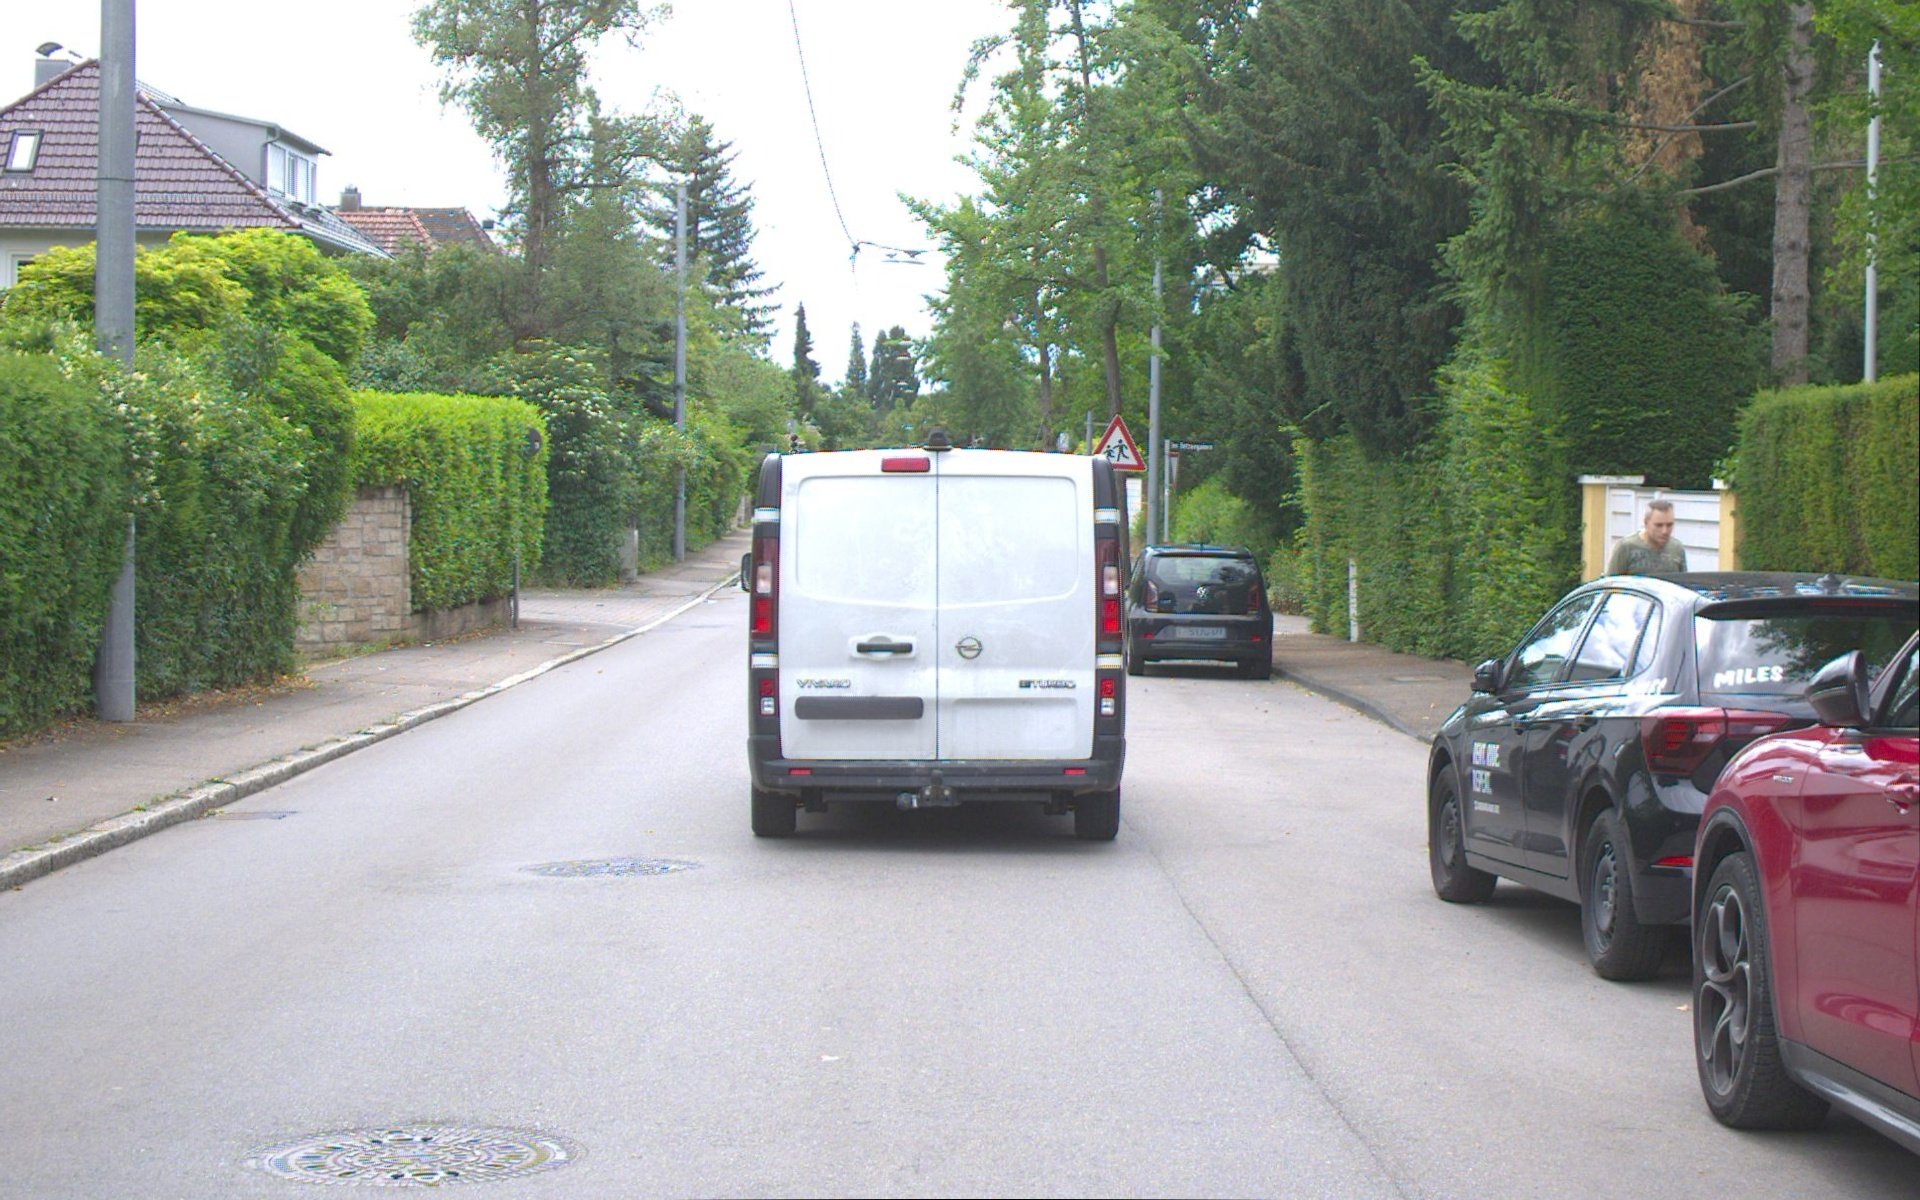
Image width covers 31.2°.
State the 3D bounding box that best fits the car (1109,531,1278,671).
[{"bbox_3d":[2.648,-0.025,39.661,1.623,1.468,3.741,1,2,-1],"label":"car"}]

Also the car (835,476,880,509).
[{"bbox_3d":[-4.837,-5.103,162.894,1.805,1.426,4.301,-2,2,2],"label":"car"}]

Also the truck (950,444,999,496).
[{"bbox_3d":[0.683,-6.457,169.972,2.187,2.463,7.432,2,2,-1],"label":"truck"}]

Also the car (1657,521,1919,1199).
[{"bbox_3d":[2.925,0.621,7.321,1.888,1.575,4.765,-1,1,0],"label":"car"}]

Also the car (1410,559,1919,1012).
[{"bbox_3d":[2.846,0.580,13.209,1.679,1.402,4.054,-1,1,0],"label":"car"}]

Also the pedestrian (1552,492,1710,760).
[{"bbox_3d":[4.336,0.150,22.247,0.669,1.692,0.918,-1,2,-14],"label":"pedestrian"}]

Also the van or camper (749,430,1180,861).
[{"bbox_3d":[-0.037,0.156,18.346,1.939,1.947,4.766,2,1,-1],"label":"van or camper"}]

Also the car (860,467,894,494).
[{"bbox_3d":[-4.631,-6.692,192.055,1.805,1.426,4.119,-2,2,-2],"label":"car"}]
